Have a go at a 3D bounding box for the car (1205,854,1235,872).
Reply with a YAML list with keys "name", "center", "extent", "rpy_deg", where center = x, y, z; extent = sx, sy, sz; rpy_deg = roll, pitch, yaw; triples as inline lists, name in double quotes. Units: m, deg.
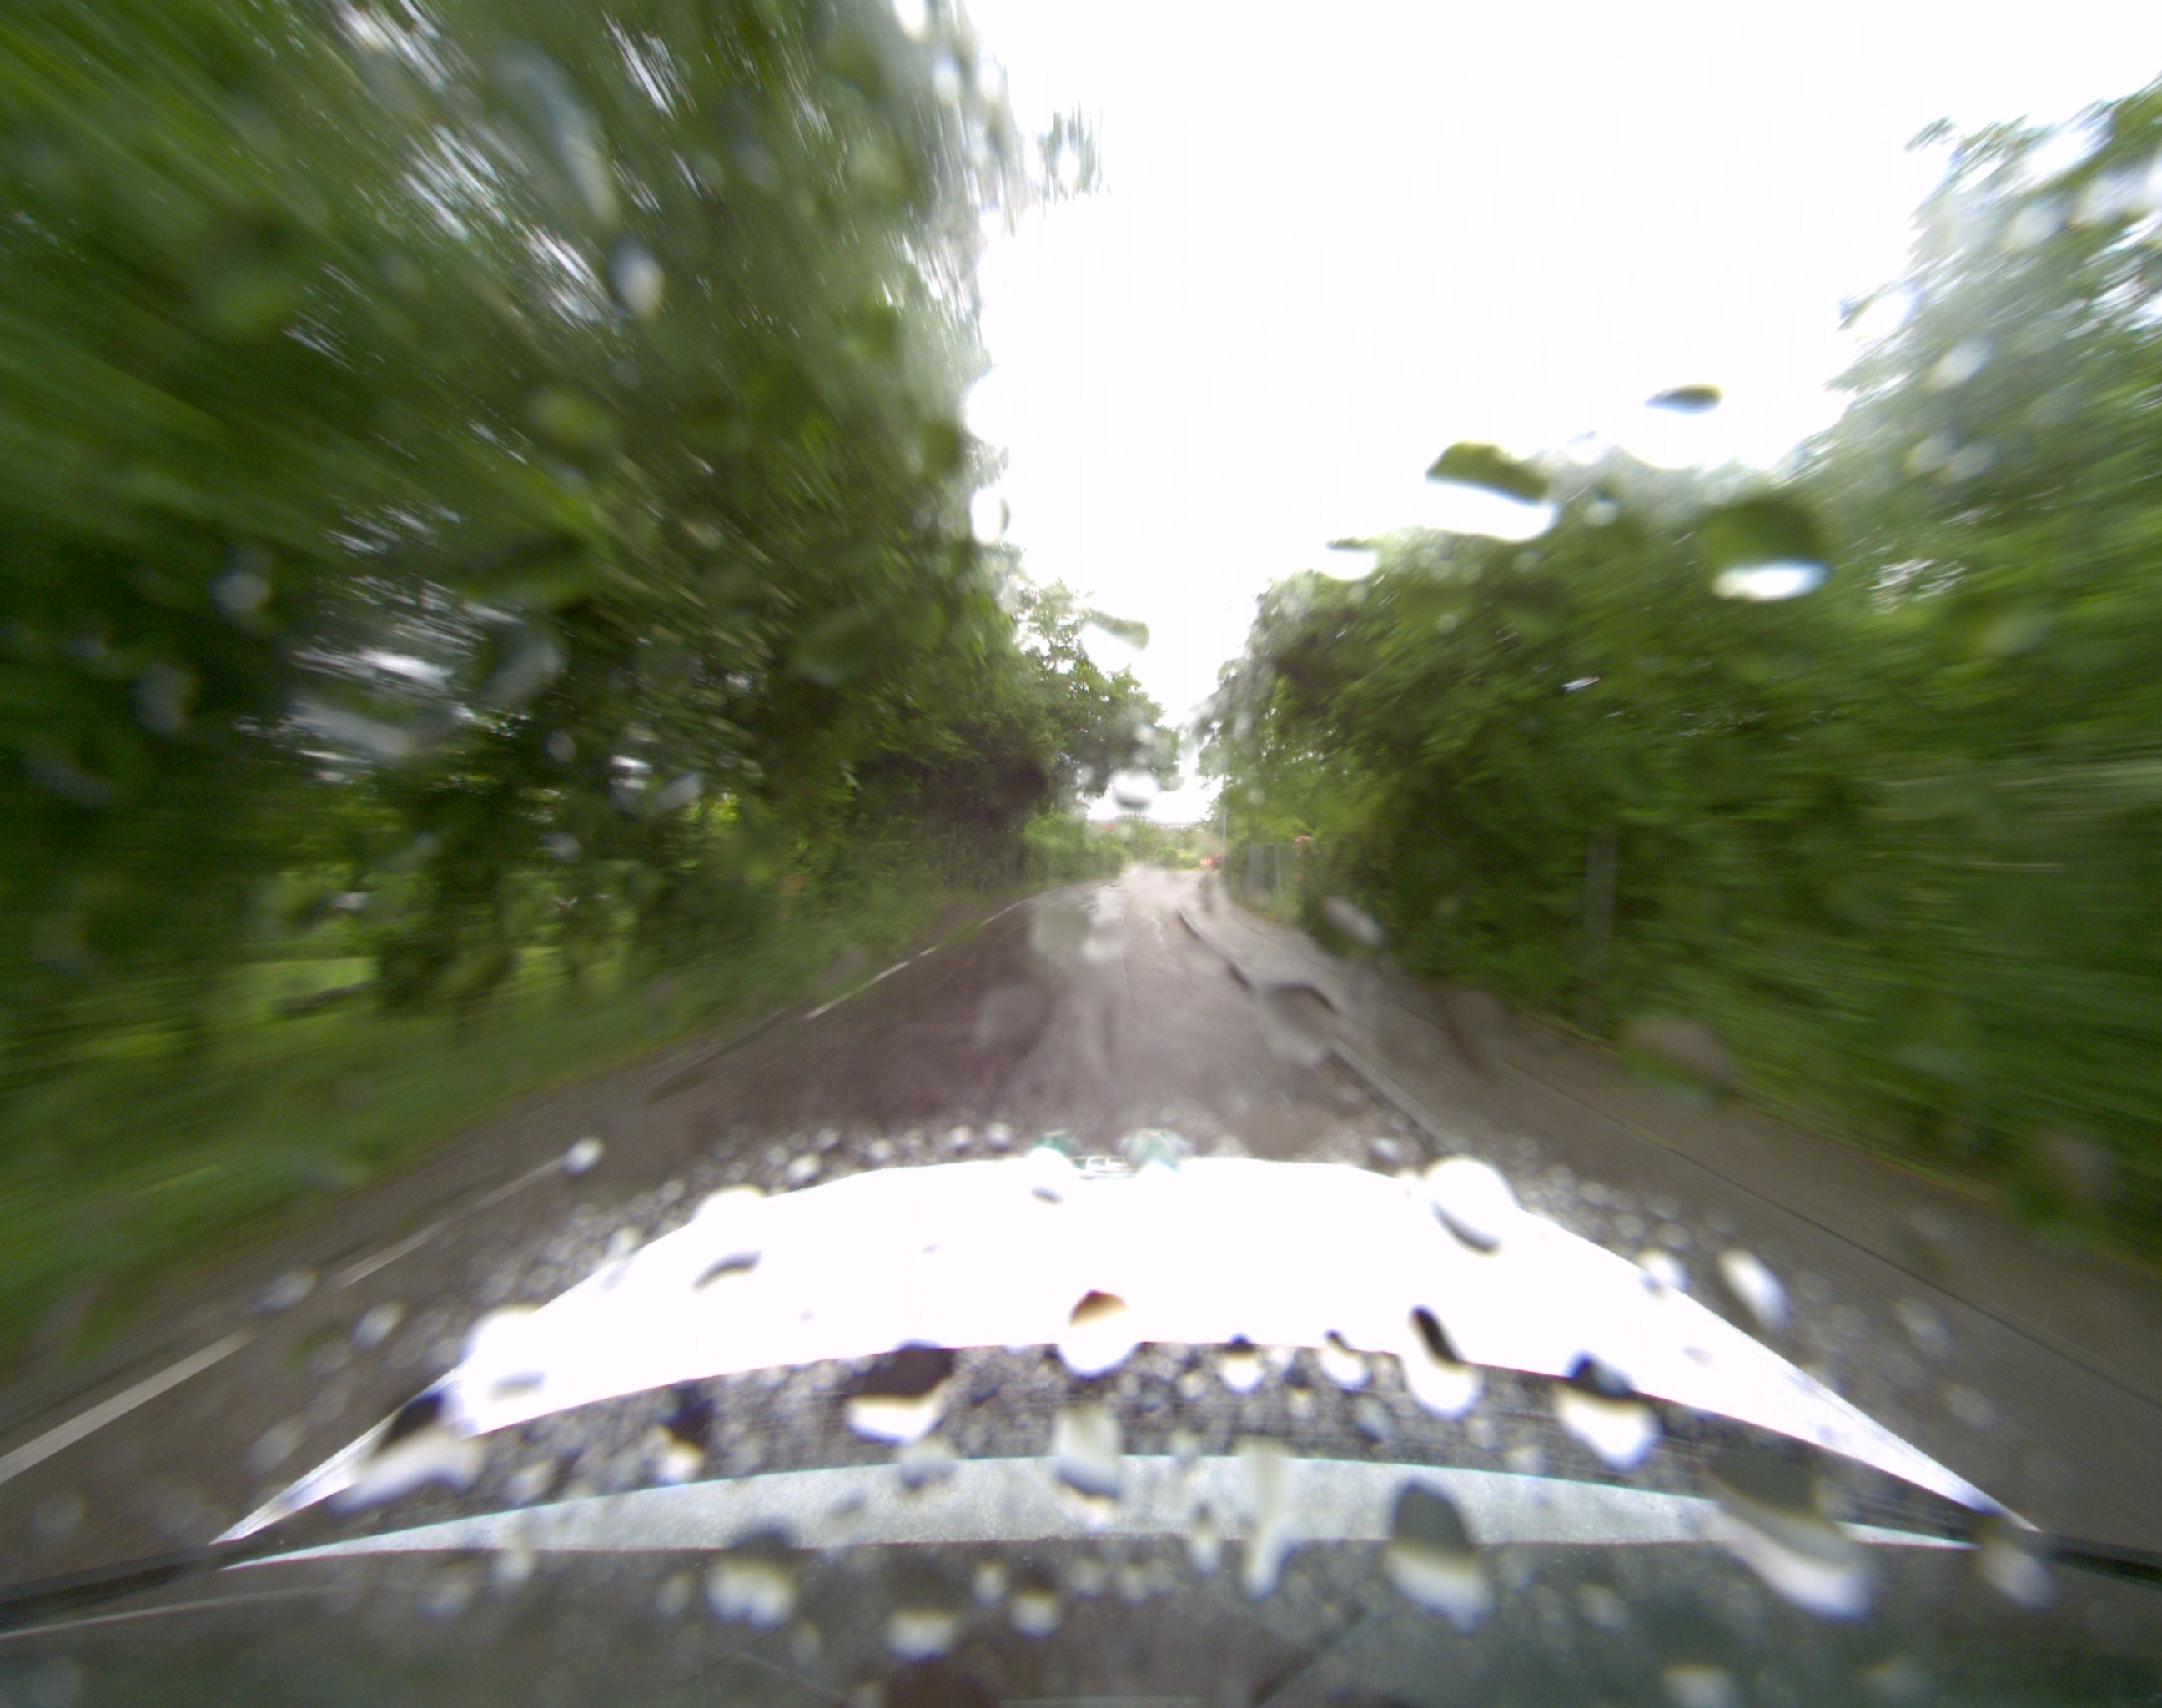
- name: "car"
  center: [11.726, 0.785, 68.642]
  extent: [1.620, 1.450, 3.564]
  rpy_deg: [-1, -1, 24]
